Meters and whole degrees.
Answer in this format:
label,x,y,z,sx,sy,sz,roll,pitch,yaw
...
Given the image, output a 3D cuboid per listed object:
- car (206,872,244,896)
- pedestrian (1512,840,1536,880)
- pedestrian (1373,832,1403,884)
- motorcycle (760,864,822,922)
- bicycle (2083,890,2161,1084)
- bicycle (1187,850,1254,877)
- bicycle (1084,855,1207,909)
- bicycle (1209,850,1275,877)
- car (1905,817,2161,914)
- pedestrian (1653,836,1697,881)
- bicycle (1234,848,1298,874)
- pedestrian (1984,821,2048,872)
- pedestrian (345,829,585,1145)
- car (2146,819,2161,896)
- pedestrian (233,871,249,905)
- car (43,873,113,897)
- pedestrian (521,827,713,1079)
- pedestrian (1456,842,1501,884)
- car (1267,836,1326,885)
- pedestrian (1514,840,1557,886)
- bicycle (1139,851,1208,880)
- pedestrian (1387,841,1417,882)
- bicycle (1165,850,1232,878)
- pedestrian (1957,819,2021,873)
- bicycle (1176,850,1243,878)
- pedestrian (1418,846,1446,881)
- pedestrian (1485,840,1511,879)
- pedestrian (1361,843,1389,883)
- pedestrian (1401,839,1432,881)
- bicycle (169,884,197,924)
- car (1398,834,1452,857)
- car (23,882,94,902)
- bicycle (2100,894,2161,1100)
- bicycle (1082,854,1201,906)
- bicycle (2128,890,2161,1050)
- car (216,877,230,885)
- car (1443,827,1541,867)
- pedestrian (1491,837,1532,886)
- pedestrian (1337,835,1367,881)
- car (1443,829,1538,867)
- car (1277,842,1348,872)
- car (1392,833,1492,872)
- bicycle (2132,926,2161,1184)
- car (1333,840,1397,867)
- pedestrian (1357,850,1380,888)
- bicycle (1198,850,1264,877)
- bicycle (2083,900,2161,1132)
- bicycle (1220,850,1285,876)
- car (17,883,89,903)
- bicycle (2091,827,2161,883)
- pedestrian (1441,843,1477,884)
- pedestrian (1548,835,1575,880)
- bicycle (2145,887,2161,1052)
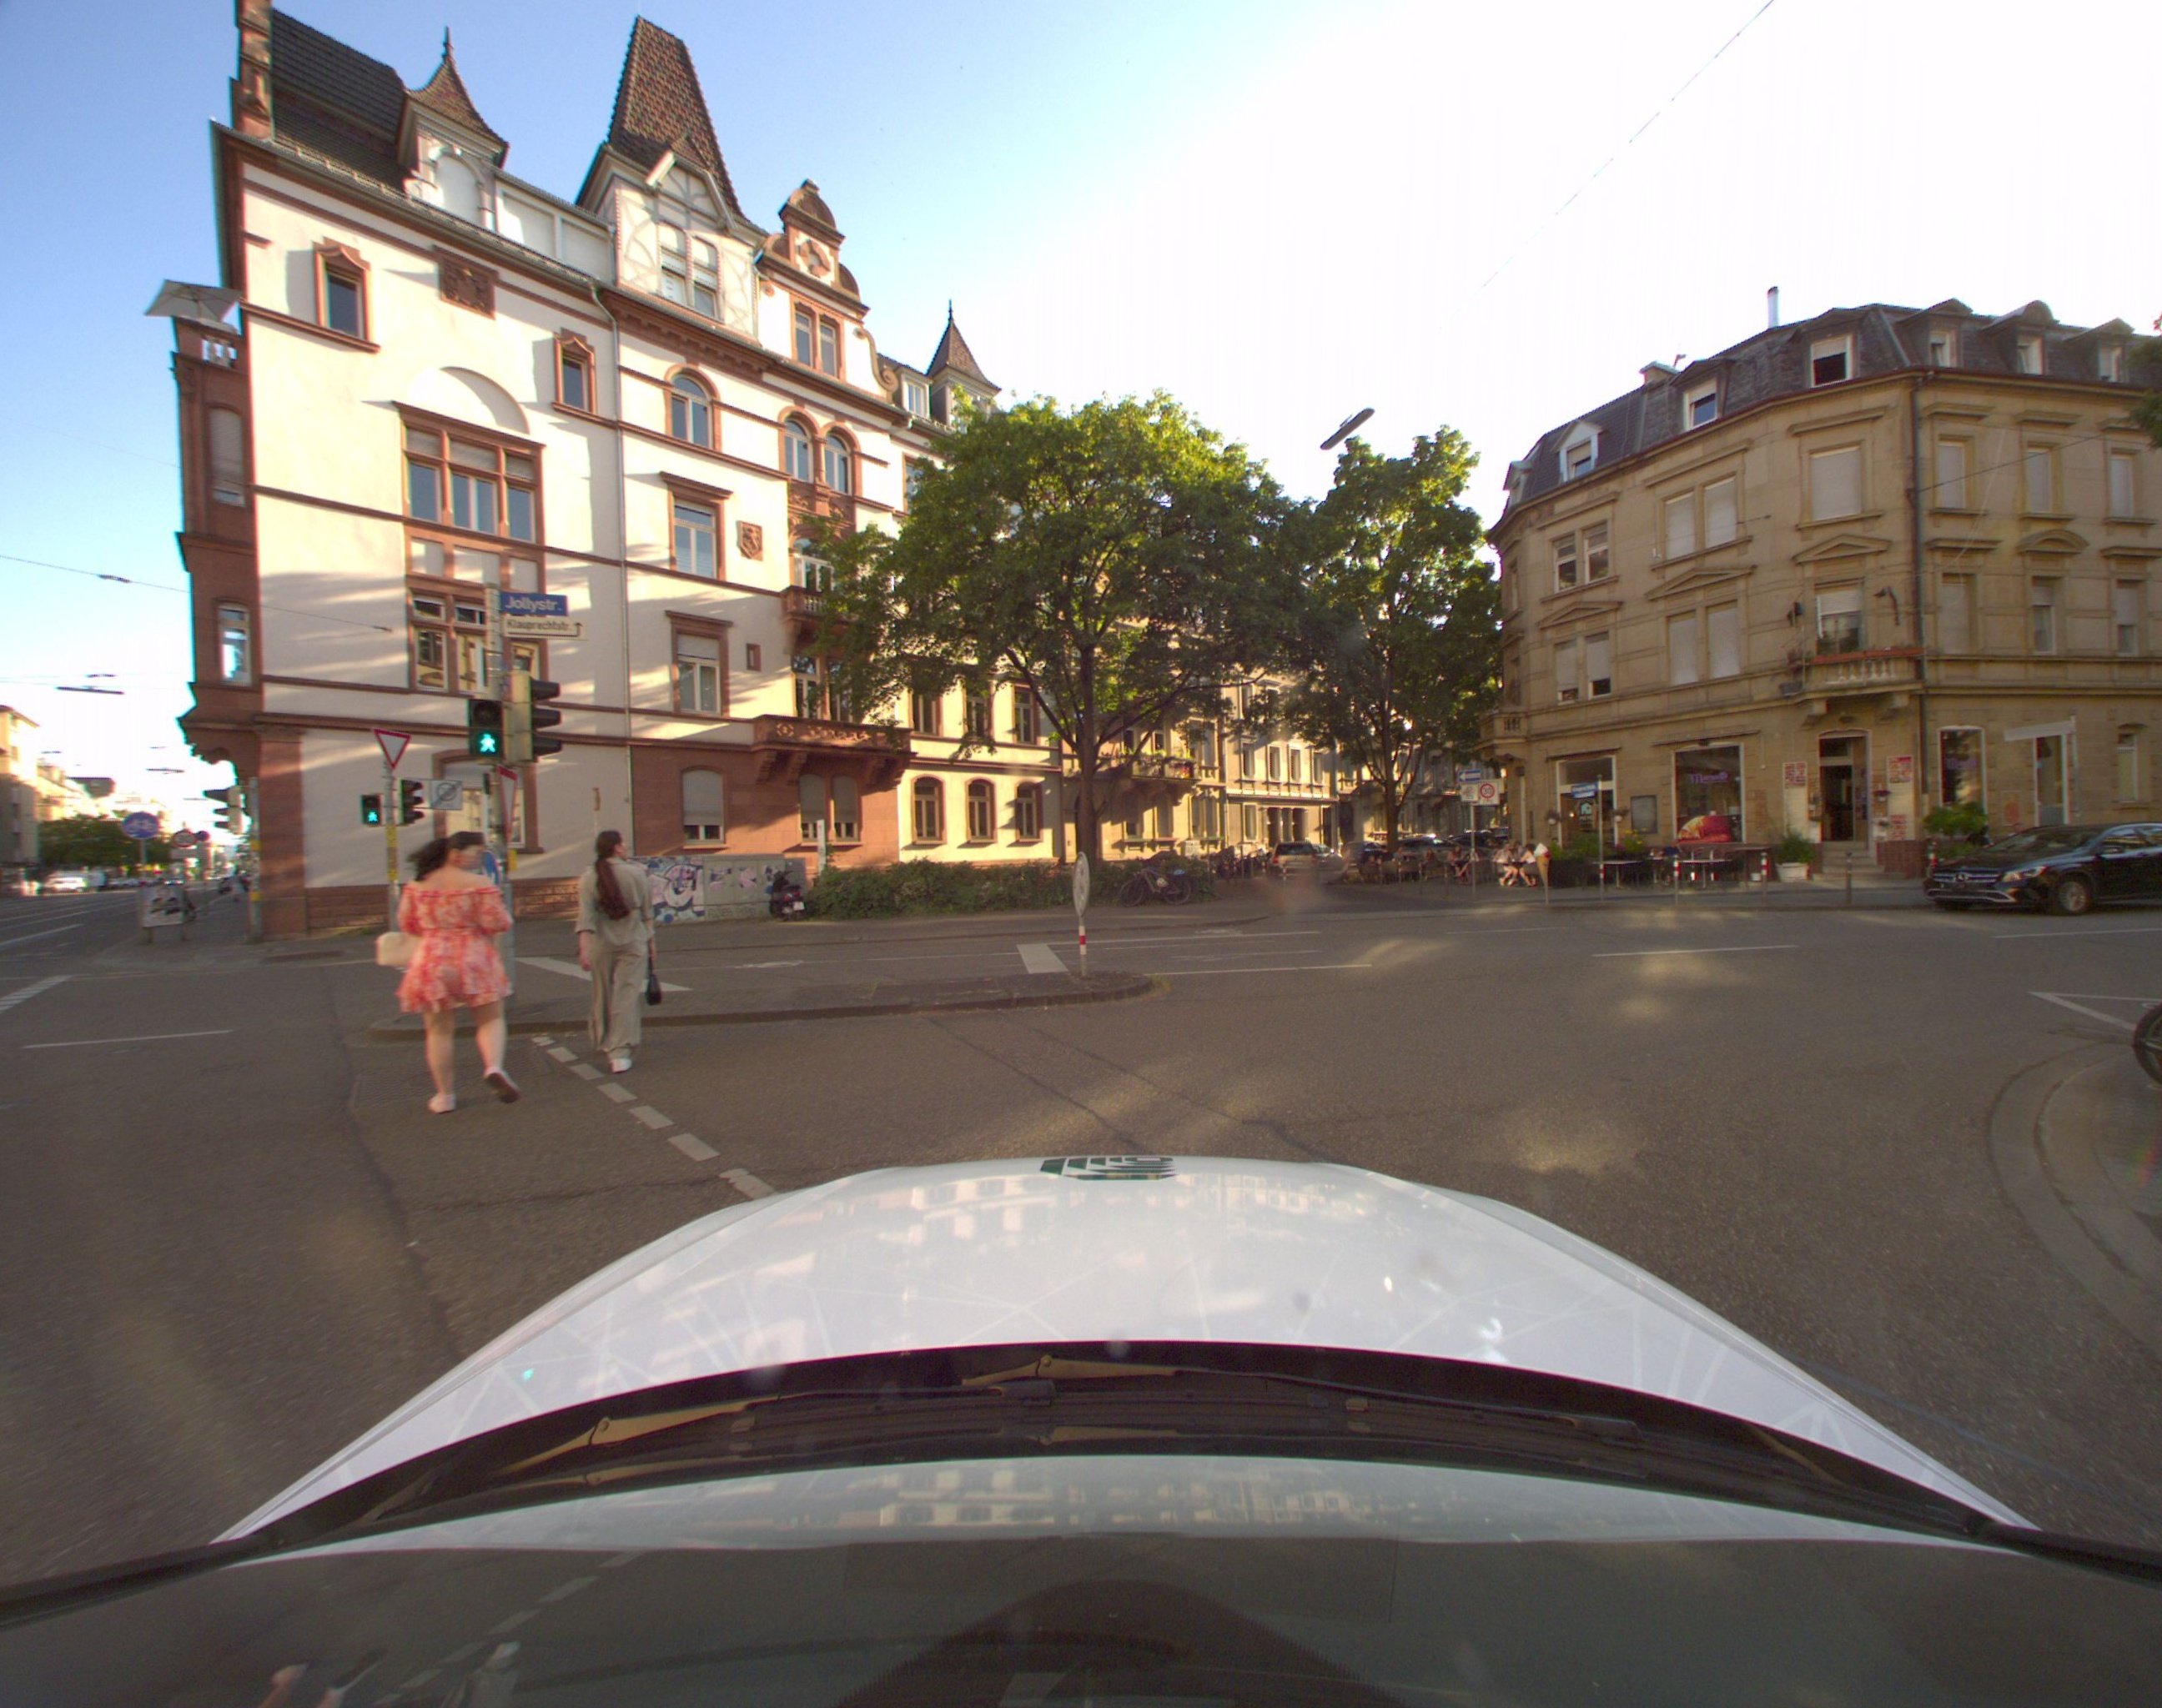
label,x,y,z,sx,sy,sz,roll,pitch,yaw
car,-77.678,2.725,73.946,2.011,2.013,3.952,-2,0,-42
pedestrian,14.122,0.179,25.964,0.433,1.248,0.480,-3,0,-12
pedestrian,10.754,0.129,28.513,0.761,1.770,0.572,-3,-1,2
motorcycle,-6.956,0.894,19.479,0.846,1.265,2.088,-2,0,-34
bicycle,6.904,0.728,4.311,1.911,1.094,0.427,-4,-4,41
bicycle,6.308,0.452,37.069,0.756,1.180,3.098,-2,0,-44
bicycle,1.594,0.686,20.177,2.945,1.196,0.547,-2,0,-6
bicycle,7.523,0.446,38.209,0.756,1.180,3.098,-2,0,-44
car,17.237,0.161,14.251,4.120,1.488,1.760,-2,-1,-6
pedestrian,16.517,0.112,22.656,0.759,1.213,0.721,-2,0,-29
bicycle,8.976,0.351,39.583,0.756,1.180,3.098,-2,0,-44
pedestrian,22.867,-0.183,19.927,0.755,1.213,0.725,-2,0,-12
pedestrian,-3.773,0.717,5.007,0.971,1.697,0.875,-2,0,35
car,22.512,-0.022,14.729,4.527,1.452,1.761,-2,-1,-5
pedestrian,-45.660,1.826,44.274,0.496,1.811,0.620,-2,0,-40
car,-122.689,3.784,99.659,2.497,2.685,4.780,-2,0,19
pedestrian,-3.476,0.668,6.118,0.971,1.697,0.875,-2,0,35
pedestrian,12.384,0.288,25.410,0.747,1.248,1.020,-3,0,-12
car,8.223,0.219,31.261,1.979,1.684,4.015,-2,0,14
pedestrian,13.090,0.255,23.445,0.743,1.289,0.740,-2,0,-20
bicycle,3.926,0.510,34.733,0.756,1.180,3.098,-2,0,-44
pedestrian,11.667,0.268,29.599,0.761,1.442,0.668,-3,-1,3
bicycle,5.142,0.461,35.928,0.756,1.180,3.098,-2,0,-44
pedestrian,21.766,-0.191,19.528,0.755,1.259,0.725,-2,0,-12
bicycle,5.718,0.455,36.476,0.756,1.180,3.098,-2,0,-44
pedestrian,12.513,0.342,29.032,0.673,1.215,0.668,-3,-1,1
pedestrian,13.795,0.188,26.941,0.509,1.248,0.480,-3,0,-12
pedestrian,10.743,0.332,29.760,0.761,1.412,0.669,-3,-1,4
pedestrian,11.752,0.213,28.571,0.761,1.442,0.668,-3,-1,3
bicycle,-29.019,1.608,26.330,1.983,1.213,0.522,-2,0,44
car,22.341,-0.583,52.811,3.773,1.376,1.905,-2,0,-44
car,-119.016,4.436,94.917,4.783,2.013,2.495,-2,0,-43
bicycle,6.602,0.731,3.983,1.911,1.094,0.427,-4,-4,41
bicycle,1.536,0.653,20.769,2.945,1.196,0.547,-2,0,-6
bicycle,8.052,0.733,4.976,1.912,1.052,0.506,-4,-4,44
car,-185.294,5.767,175.859,3.949,1.692,2.012,-2,0,43
car,19.296,-0.318,38.259,3.949,1.684,2.013,-2,0,29
pedestrian,12.801,0.223,24.225,0.728,1.411,0.751,-2,0,-22
pedestrian,10.259,0.162,30.803,0.765,1.670,0.665,-2,-1,-11
car,20.388,-0.299,40.733,3.954,1.684,2.010,-2,0,20
car,12.129,0.147,42.588,3.773,1.376,1.905,-2,0,-44
car,16.022,-0.080,36.324,3.795,1.562,1.810,-2,0,15
bicycle,5.080,0.861,3.255,0.741,1.027,0.989,-2,0,-31
car,16.089,-0.040,46.078,3.773,1.376,1.905,-2,0,-44
pedestrian,10.237,0.541,29.014,0.568,1.320,0.505,-3,0,1
bicycle,6.881,0.449,37.651,0.756,1.180,3.098,-2,0,-44
bicycle,5.907,0.757,3.815,1.460,1.094,0.427,-3,-3,20
bicycle,8.124,0.443,38.811,0.756,1.180,3.098,-2,0,-44
car,-117.332,4.405,93.025,4.783,2.013,2.262,-2,0,-43
bicycle,22.551,0.016,16.991,0.526,1.128,1.869,-2,1,-7
pedestrian,12.189,0.297,26.295,0.747,1.248,0.704,-3,0,-12
pedestrian,14.729,0.105,24.959,0.433,1.367,0.479,-3,0,-18
bicycle,7.707,0.712,4.626,1.912,1.094,0.427,-4,-4,44
